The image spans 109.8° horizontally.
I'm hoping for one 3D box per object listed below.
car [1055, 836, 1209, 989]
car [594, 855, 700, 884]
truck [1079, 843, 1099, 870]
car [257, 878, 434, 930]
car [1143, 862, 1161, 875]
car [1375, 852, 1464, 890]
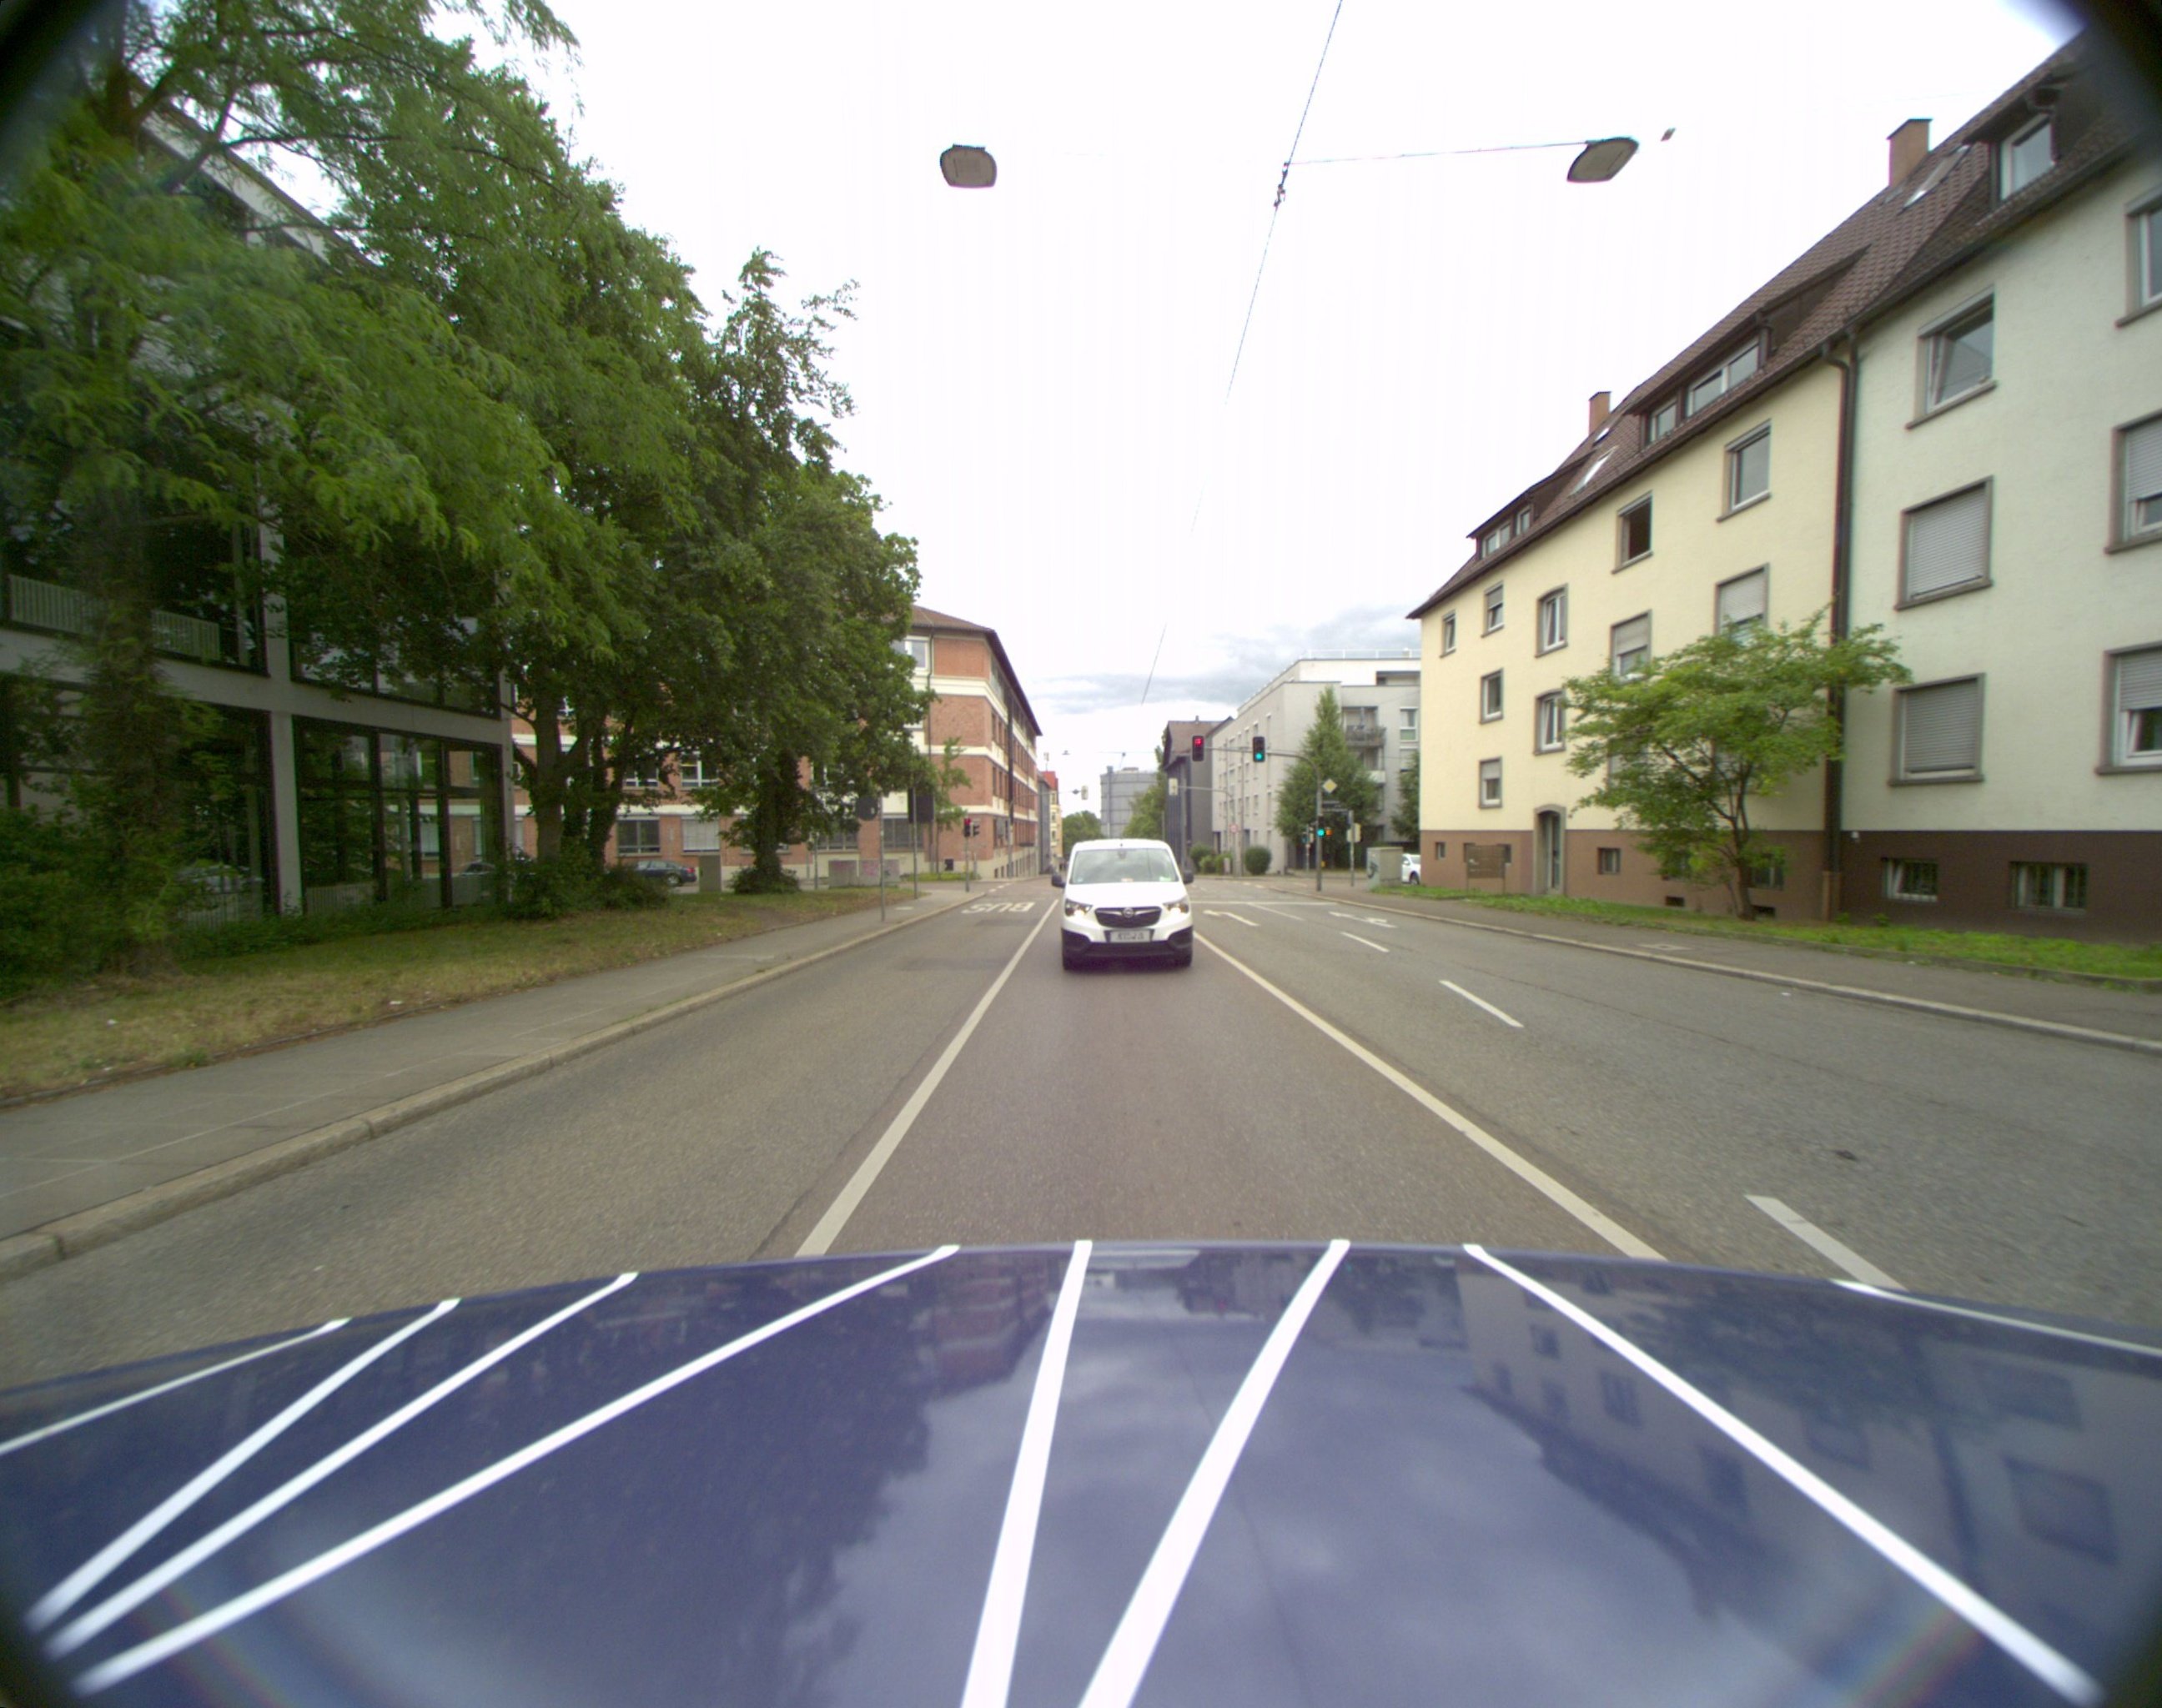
[{"bbox_3d":[0.660,0.759,11.436,1.850,1.831,4.284,-1,-1,1],"label":"car"},{"bbox_3d":[-21.742,0.777,38.276,4.425,1.396,1.771,0,-3,-21],"label":"car"},{"bbox_3d":[1.112,0.386,102.764,2.545,3.478,8.521,0,0,1],"label":"truck"},{"bbox_3d":[-27.187,1.825,28.279,4.313,1.601,1.742,0,6,-19],"label":"car"},{"bbox_3d":[8.235,1.712,88.697,1.799,1.401,4.000,0,0,1],"label":"car"},{"bbox_3d":[15.050,0.757,34.044,1.819,1.527,4.260,1,-1,-4],"label":"car"}]
